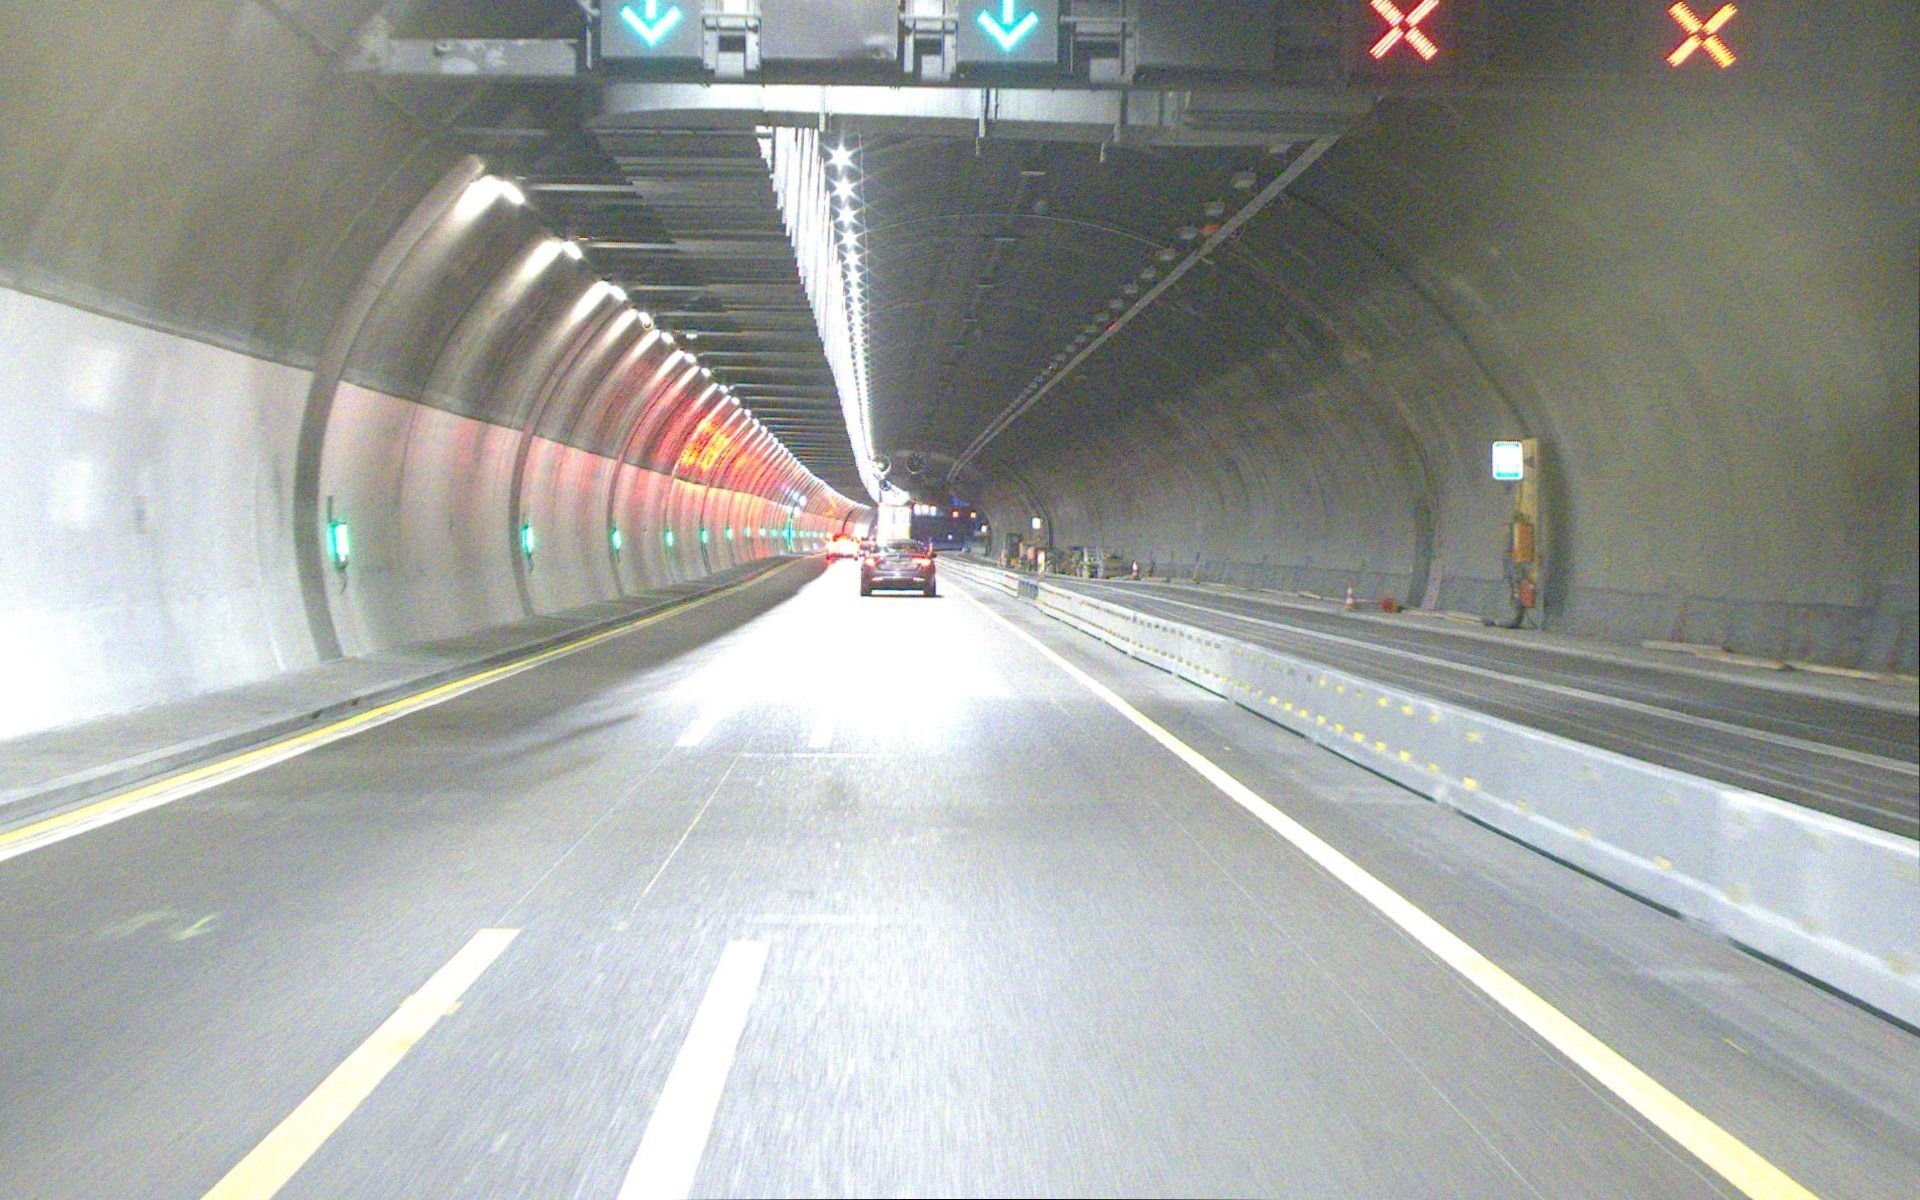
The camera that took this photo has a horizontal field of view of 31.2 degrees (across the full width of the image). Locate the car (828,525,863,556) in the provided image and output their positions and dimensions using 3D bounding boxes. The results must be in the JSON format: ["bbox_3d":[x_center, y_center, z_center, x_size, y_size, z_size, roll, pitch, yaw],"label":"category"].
[{"bbox_3d":[-6.516,-3.394,195.639,1.930,1.681,4.001,0,1,-2],"label":"car"}]

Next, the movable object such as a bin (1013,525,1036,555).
[{"bbox_3d":[3.854,-3.567,204.938,1.234,1.713,2.217,2,1,-2],"label":"movable object such as a bin"}]

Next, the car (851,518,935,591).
[{"bbox_3d":[-1.707,-1.171,86.148,1.946,1.788,4.001,0,1,-3],"label":"car"}]

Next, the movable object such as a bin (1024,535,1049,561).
[{"bbox_3d":[4.295,-2.932,193.597,1.234,1.437,2.217,2,1,-2],"label":"movable object such as a bin"}]
